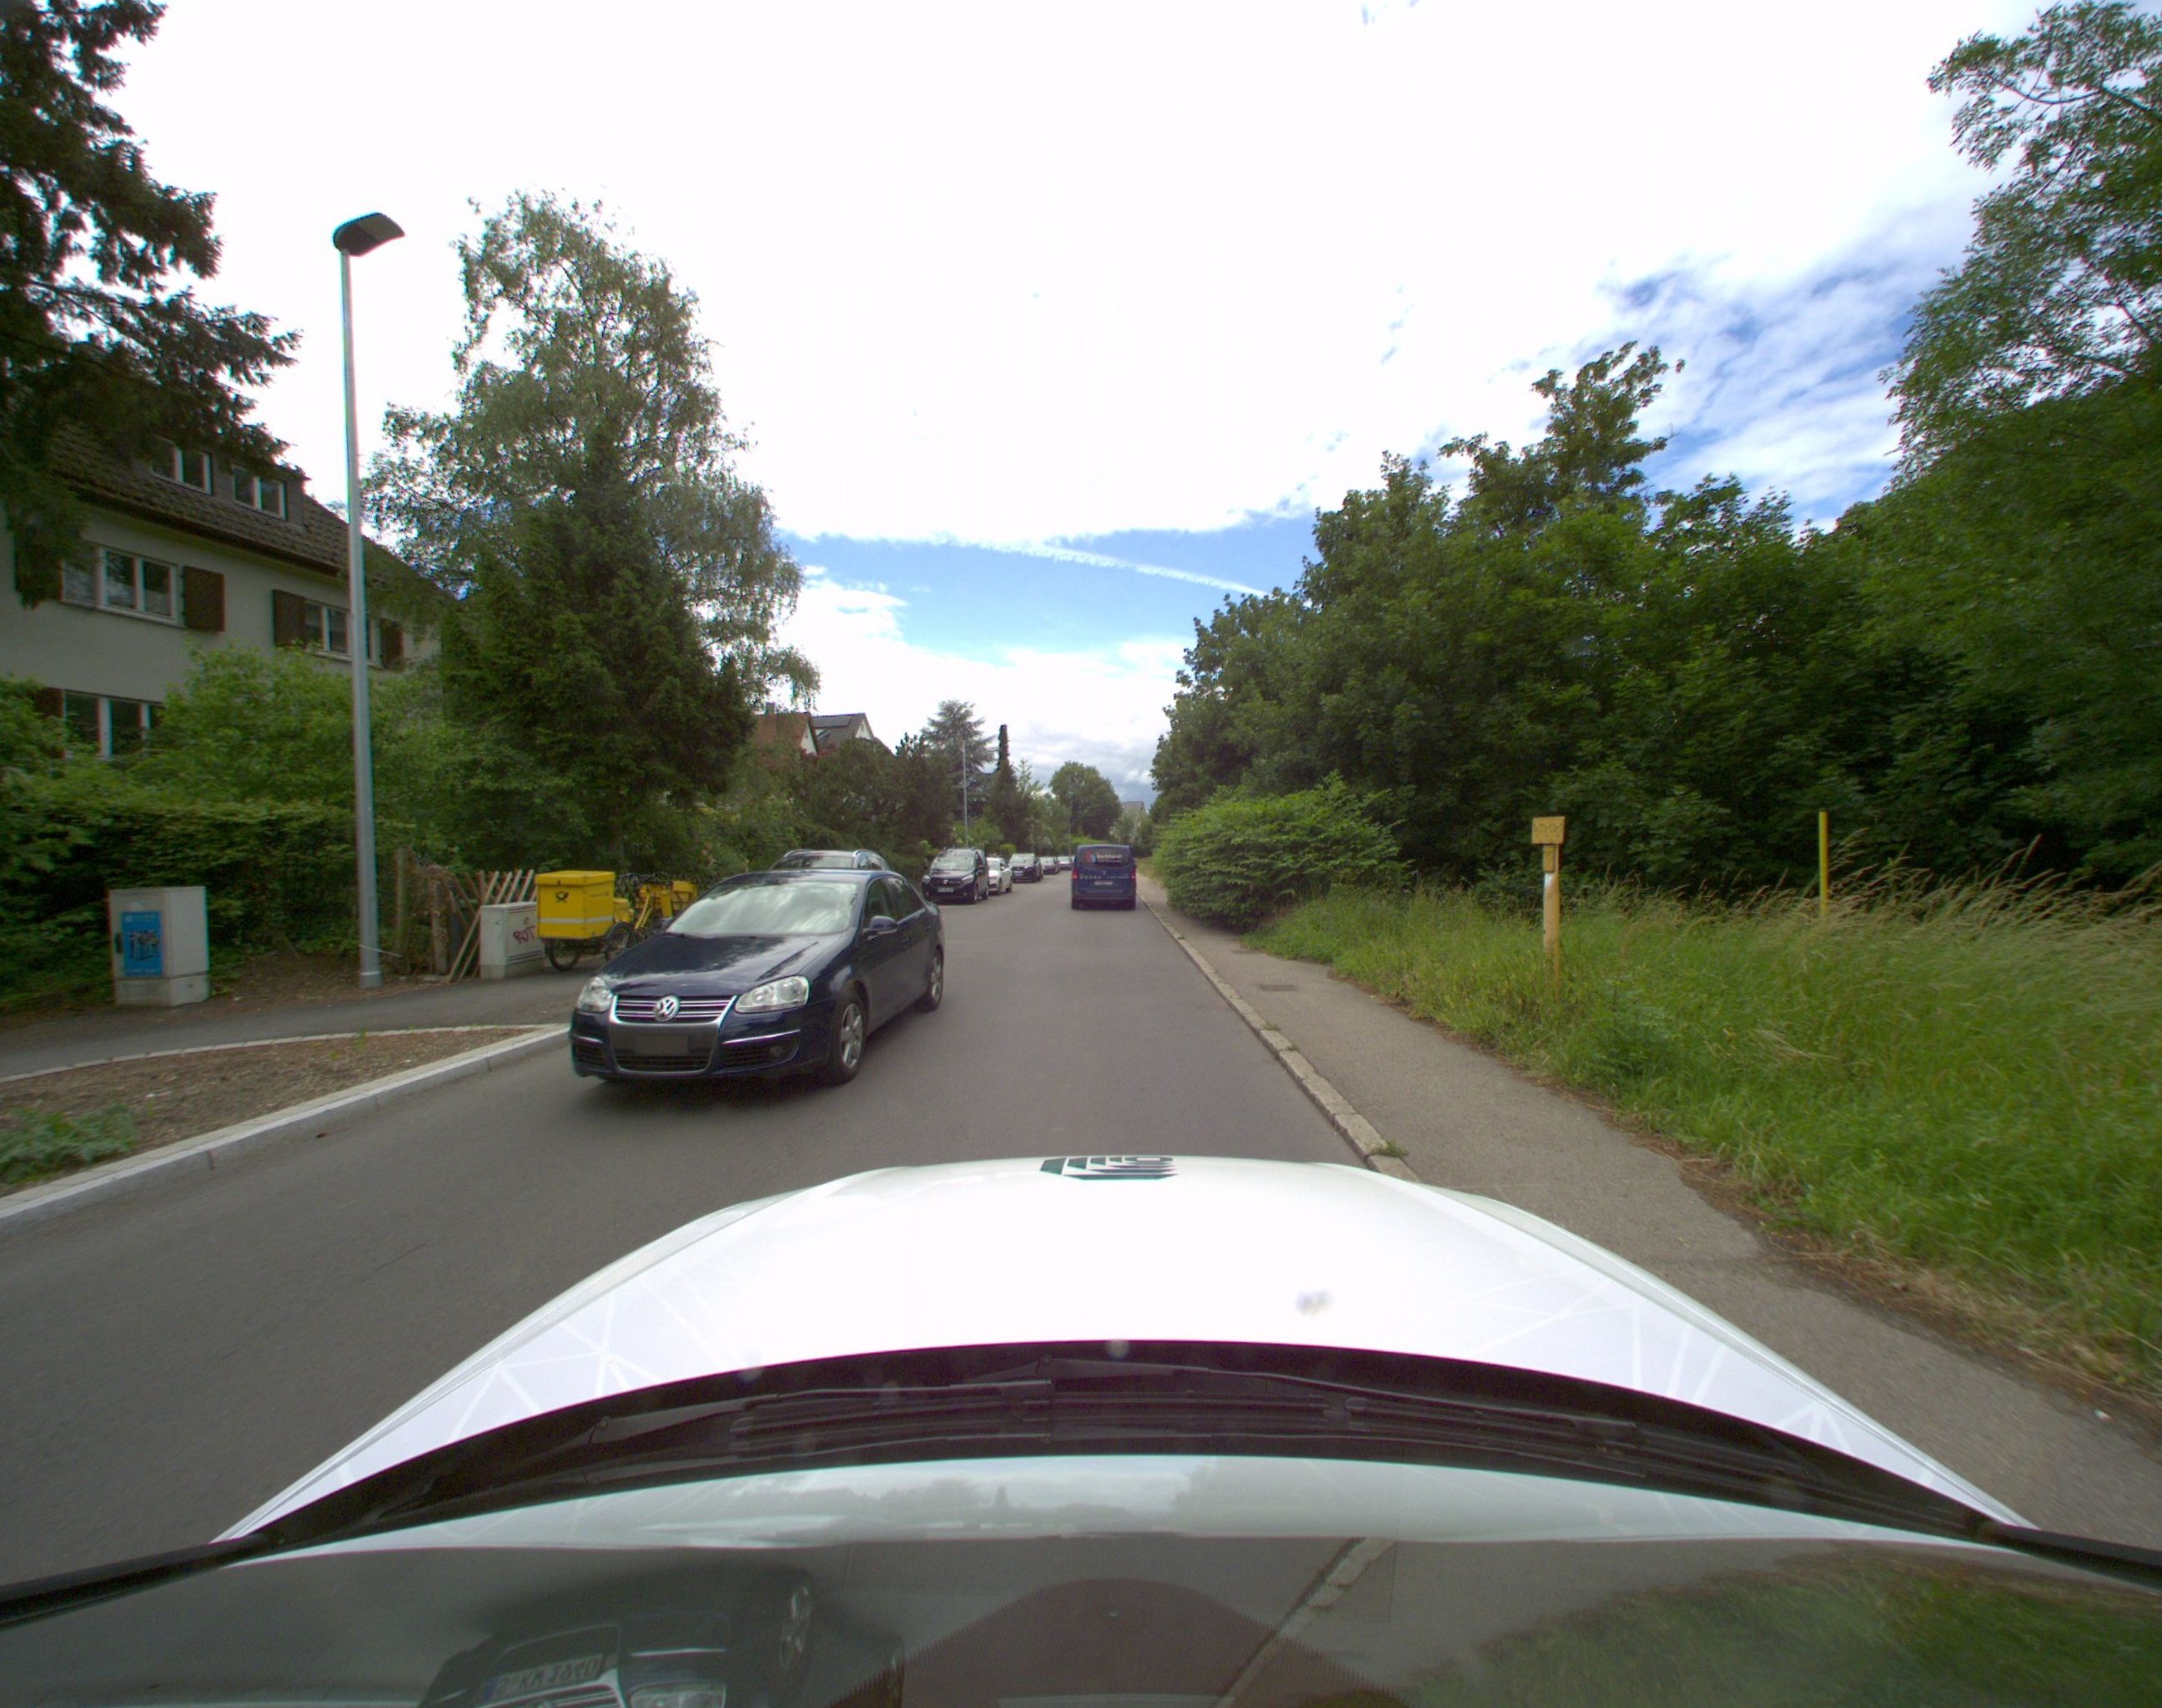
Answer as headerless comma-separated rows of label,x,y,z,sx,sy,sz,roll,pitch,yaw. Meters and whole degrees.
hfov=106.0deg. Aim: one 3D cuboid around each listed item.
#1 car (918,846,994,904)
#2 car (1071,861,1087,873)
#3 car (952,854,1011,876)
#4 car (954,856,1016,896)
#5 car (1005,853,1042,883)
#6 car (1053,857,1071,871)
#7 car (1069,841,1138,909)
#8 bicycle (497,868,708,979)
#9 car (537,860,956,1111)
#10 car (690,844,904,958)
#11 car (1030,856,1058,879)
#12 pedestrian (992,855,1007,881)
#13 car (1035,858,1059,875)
car,-4.066,0.643,27.222,1.700,1.799,4.300,0,0,2
car,-0.222,1.606,103.339,1.535,1.514,3.650,0,0,6
car,-7.428,0.799,61.031,3.957,1.547,1.849,1,0,15
car,-3.825,0.831,33.006,1.699,1.511,4.559,0,0,3
car,-3.347,0.779,47.976,1.785,1.664,4.393,0,0,1
car,-1.958,0.988,84.520,1.700,1.410,4.162,0,0,1
car,0.644,0.578,24.852,1.930,1.880,4.530,0,0,0
bicycle,-6.161,0.828,10.788,1.148,1.229,2.720,0,0,1
car,-2.339,0.803,6.997,1.700,1.474,4.197,0,0,2
car,-4.528,0.667,13.859,1.788,1.607,4.733,0,0,2
car,-2.543,0.927,57.013,1.700,1.511,3.947,0,0,1
pedestrian,-4.928,0.833,49.345,0.766,1.574,0.821,0,-1,2
car,-2.783,1.014,67.477,1.700,1.416,4.151,0,0,1
